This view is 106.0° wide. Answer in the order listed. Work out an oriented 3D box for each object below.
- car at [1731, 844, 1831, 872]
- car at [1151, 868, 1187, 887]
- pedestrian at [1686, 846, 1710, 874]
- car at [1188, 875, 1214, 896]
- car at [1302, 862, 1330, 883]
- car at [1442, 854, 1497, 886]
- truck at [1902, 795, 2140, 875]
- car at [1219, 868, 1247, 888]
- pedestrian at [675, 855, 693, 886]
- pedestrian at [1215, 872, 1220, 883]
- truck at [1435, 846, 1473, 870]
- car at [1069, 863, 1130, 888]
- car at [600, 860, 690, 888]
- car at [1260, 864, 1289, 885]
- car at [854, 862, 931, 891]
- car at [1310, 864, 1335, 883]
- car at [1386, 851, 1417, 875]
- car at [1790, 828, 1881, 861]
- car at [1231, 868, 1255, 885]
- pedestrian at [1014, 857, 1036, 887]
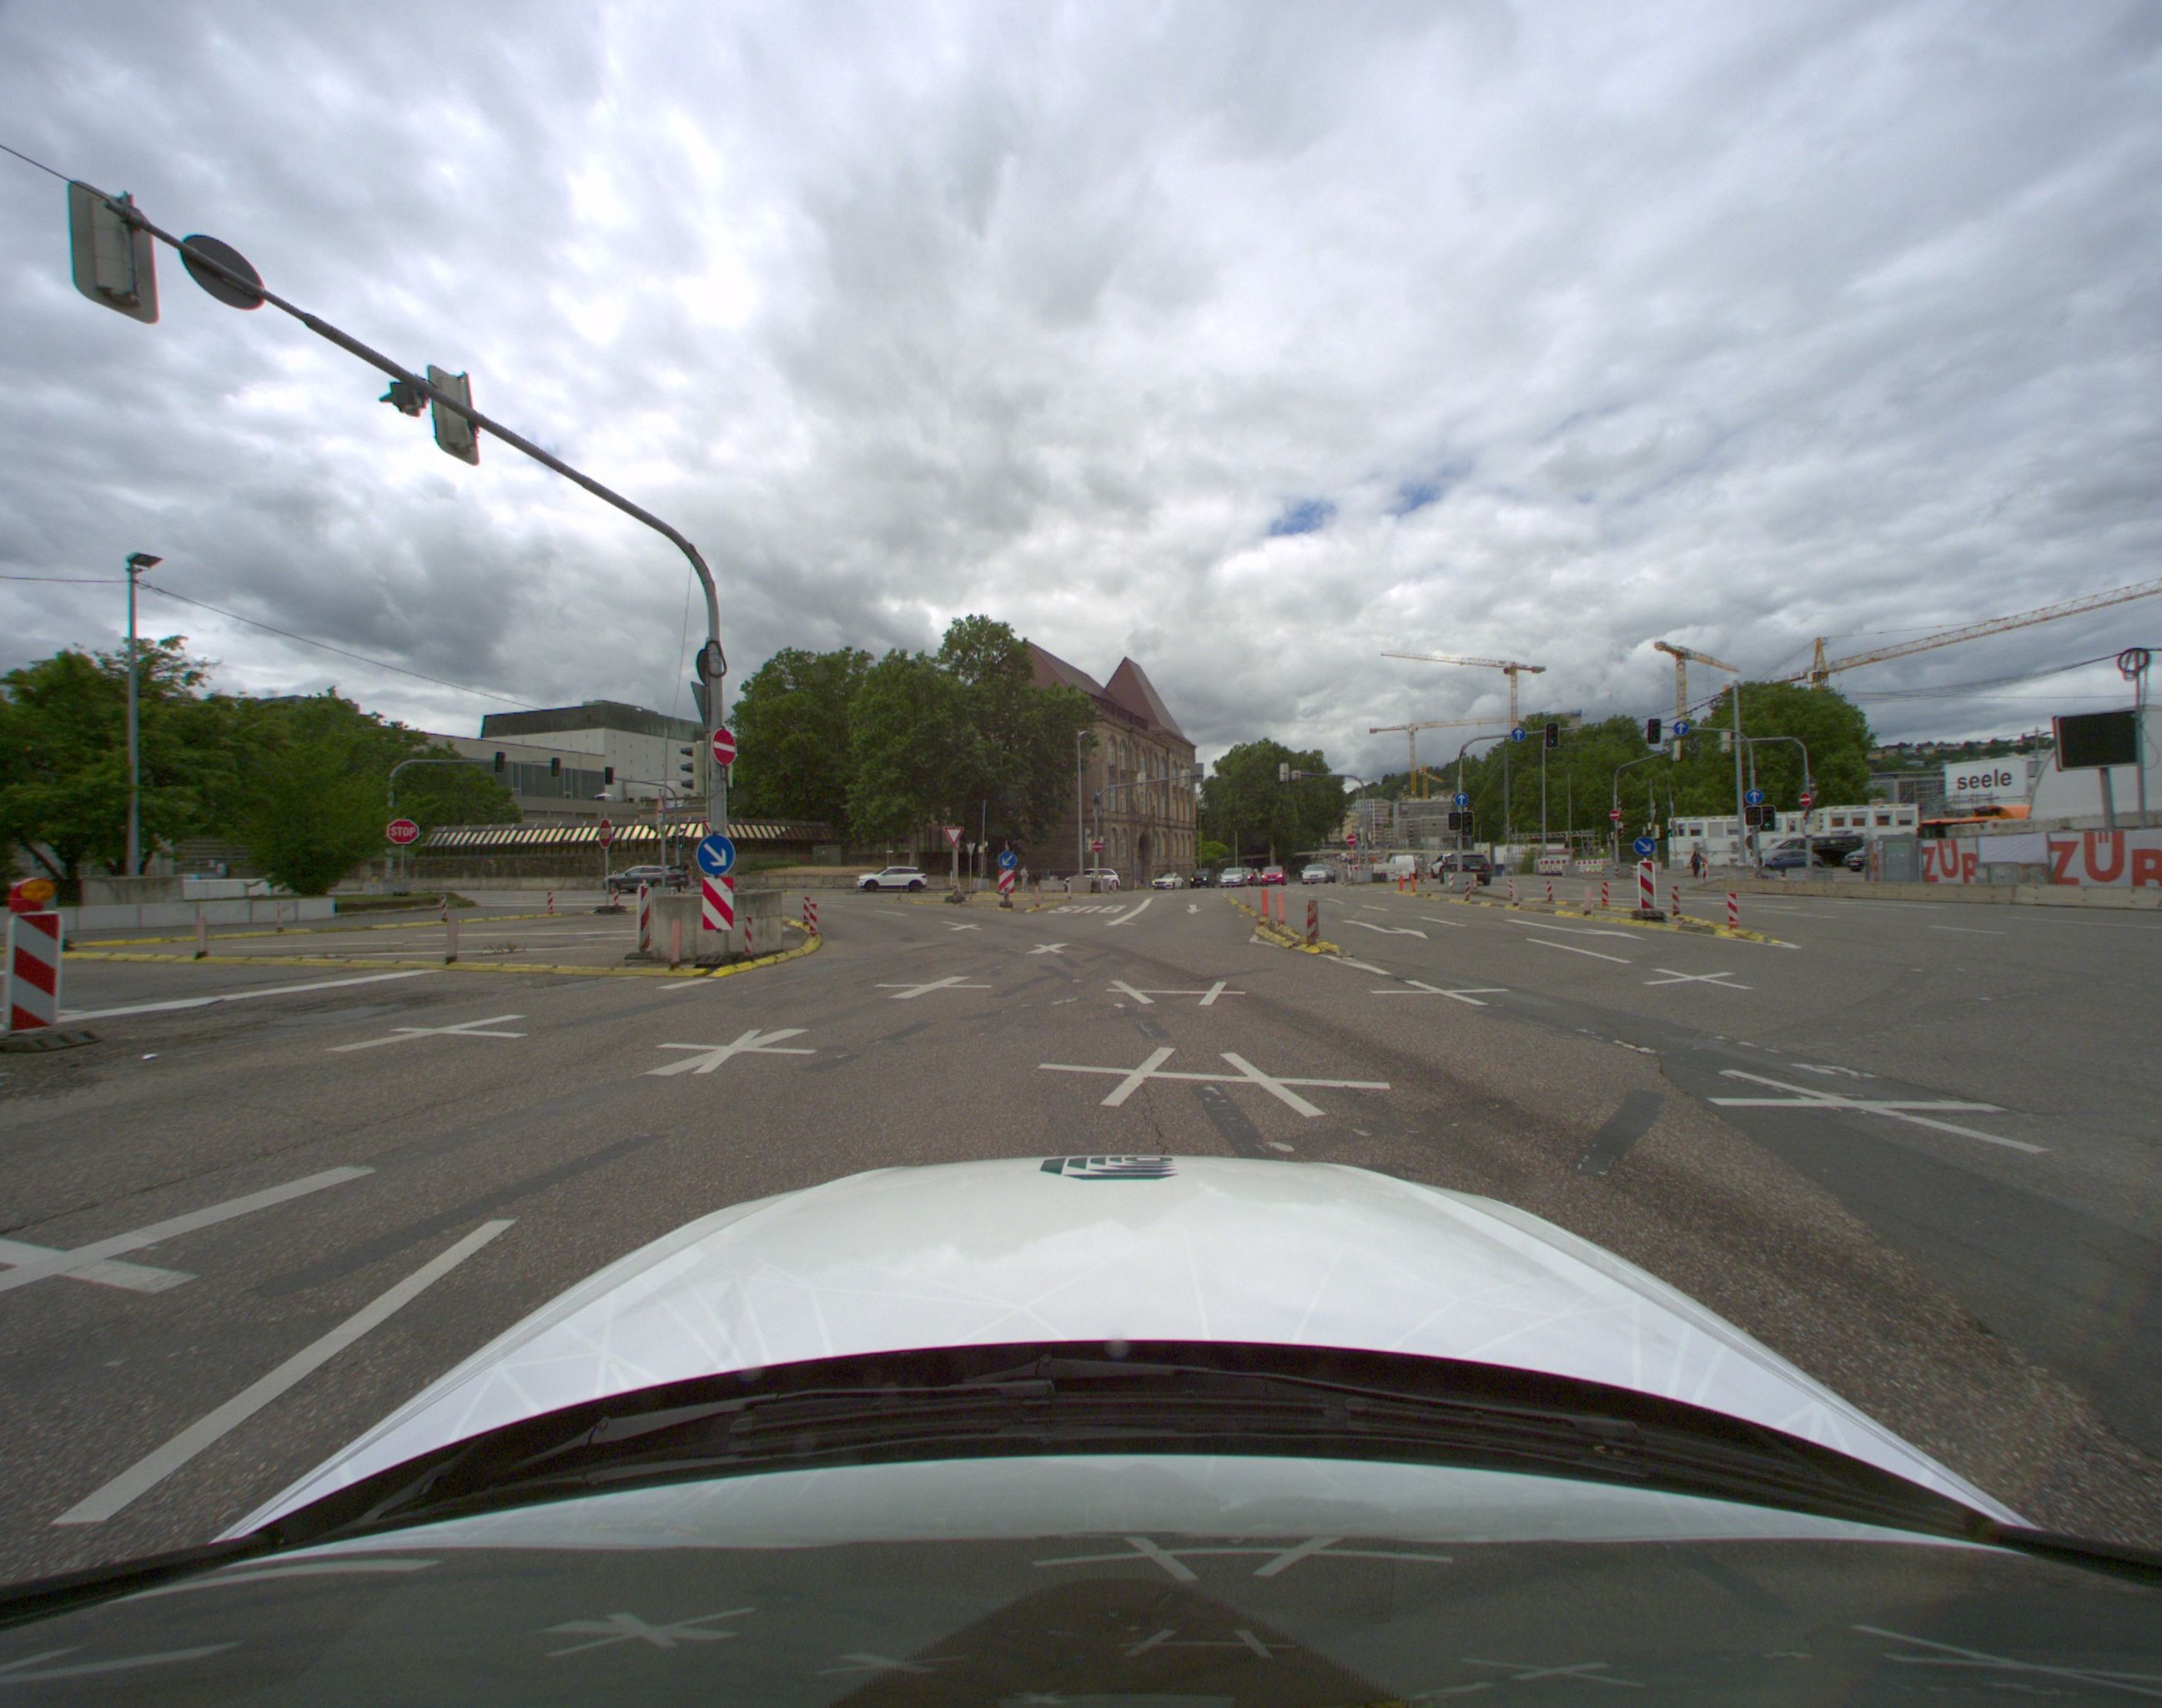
[{"bbox_3d":[38.889,0.226,45.274,4.042,1.435,1.786,-1,-1,-1],"label":"car"},{"bbox_3d":[7.330,1.942,67.741,1.719,1.435,4.405,0,0,23],"label":"car"},{"bbox_3d":[34.957,0.352,46.127,0.619,1.592,0.850,-1,-2,-3],"label":"pedestrian"},{"bbox_3d":[12.087,3.217,81.940,1.917,1.938,3.689,-4,-5,18],"label":"car"},{"bbox_3d":[17.013,1.328,58.885,1.675,1.435,3.463,-3,-2,19],"label":"car"},{"bbox_3d":[21.270,0.887,44.731,1.925,1.667,3.654,-1,-2,12],"label":"car"},{"bbox_3d":[48.039,-0.944,41.805,8.971,3.675,2.909,-2,0,-1],"label":"truck"},{"bbox_3d":[11.557,1.838,61.760,1.647,1.436,3.461,-3,-3,17],"label":"car"},{"bbox_3d":[-25.965,1.064,53.263,0.848,2.014,0.621,-1,-2,-10],"label":"pedestrian"},{"bbox_3d":[20.183,3.453,120.390,0.655,1.635,0.854,-2,-2,15],"label":"pedestrian"},{"bbox_3d":[26.900,0.288,58.798,1.920,1.681,4.030,0,0,16],"label":"truck"},{"bbox_3d":[1.323,1.501,57.065,1.794,1.642,4.580,-1,0,40],"label":"car"},{"bbox_3d":[-25.950,1.190,48.559,4.442,1.568,1.832,0,0,6],"label":"car"},{"bbox_3d":[14.197,1.486,59.621,1.672,1.435,3.463,-3,-2,19],"label":"car"},{"bbox_3d":[-11.461,1.344,49.448,4.335,1.567,1.744,1,3,-23],"label":"car"},{"bbox_3d":[19.444,1.541,65.498,1.675,1.435,3.463,-3,-2,19],"label":"car"},{"bbox_3d":[24.022,0.707,61.087,1.745,1.687,3.657,-1,-2,15],"label":"car"},{"bbox_3d":[47.443,-0.580,51.289,3.977,2.013,1.998,0,0,-3],"label":"car"},{"bbox_3d":[13.640,1.870,68.525,1.647,1.435,3.462,0,-1,17],"label":"car"},{"bbox_3d":[-3.936,1.263,57.036,1.195,2.014,1.195,0,-1,-21],"label":"pedestrian"}]
